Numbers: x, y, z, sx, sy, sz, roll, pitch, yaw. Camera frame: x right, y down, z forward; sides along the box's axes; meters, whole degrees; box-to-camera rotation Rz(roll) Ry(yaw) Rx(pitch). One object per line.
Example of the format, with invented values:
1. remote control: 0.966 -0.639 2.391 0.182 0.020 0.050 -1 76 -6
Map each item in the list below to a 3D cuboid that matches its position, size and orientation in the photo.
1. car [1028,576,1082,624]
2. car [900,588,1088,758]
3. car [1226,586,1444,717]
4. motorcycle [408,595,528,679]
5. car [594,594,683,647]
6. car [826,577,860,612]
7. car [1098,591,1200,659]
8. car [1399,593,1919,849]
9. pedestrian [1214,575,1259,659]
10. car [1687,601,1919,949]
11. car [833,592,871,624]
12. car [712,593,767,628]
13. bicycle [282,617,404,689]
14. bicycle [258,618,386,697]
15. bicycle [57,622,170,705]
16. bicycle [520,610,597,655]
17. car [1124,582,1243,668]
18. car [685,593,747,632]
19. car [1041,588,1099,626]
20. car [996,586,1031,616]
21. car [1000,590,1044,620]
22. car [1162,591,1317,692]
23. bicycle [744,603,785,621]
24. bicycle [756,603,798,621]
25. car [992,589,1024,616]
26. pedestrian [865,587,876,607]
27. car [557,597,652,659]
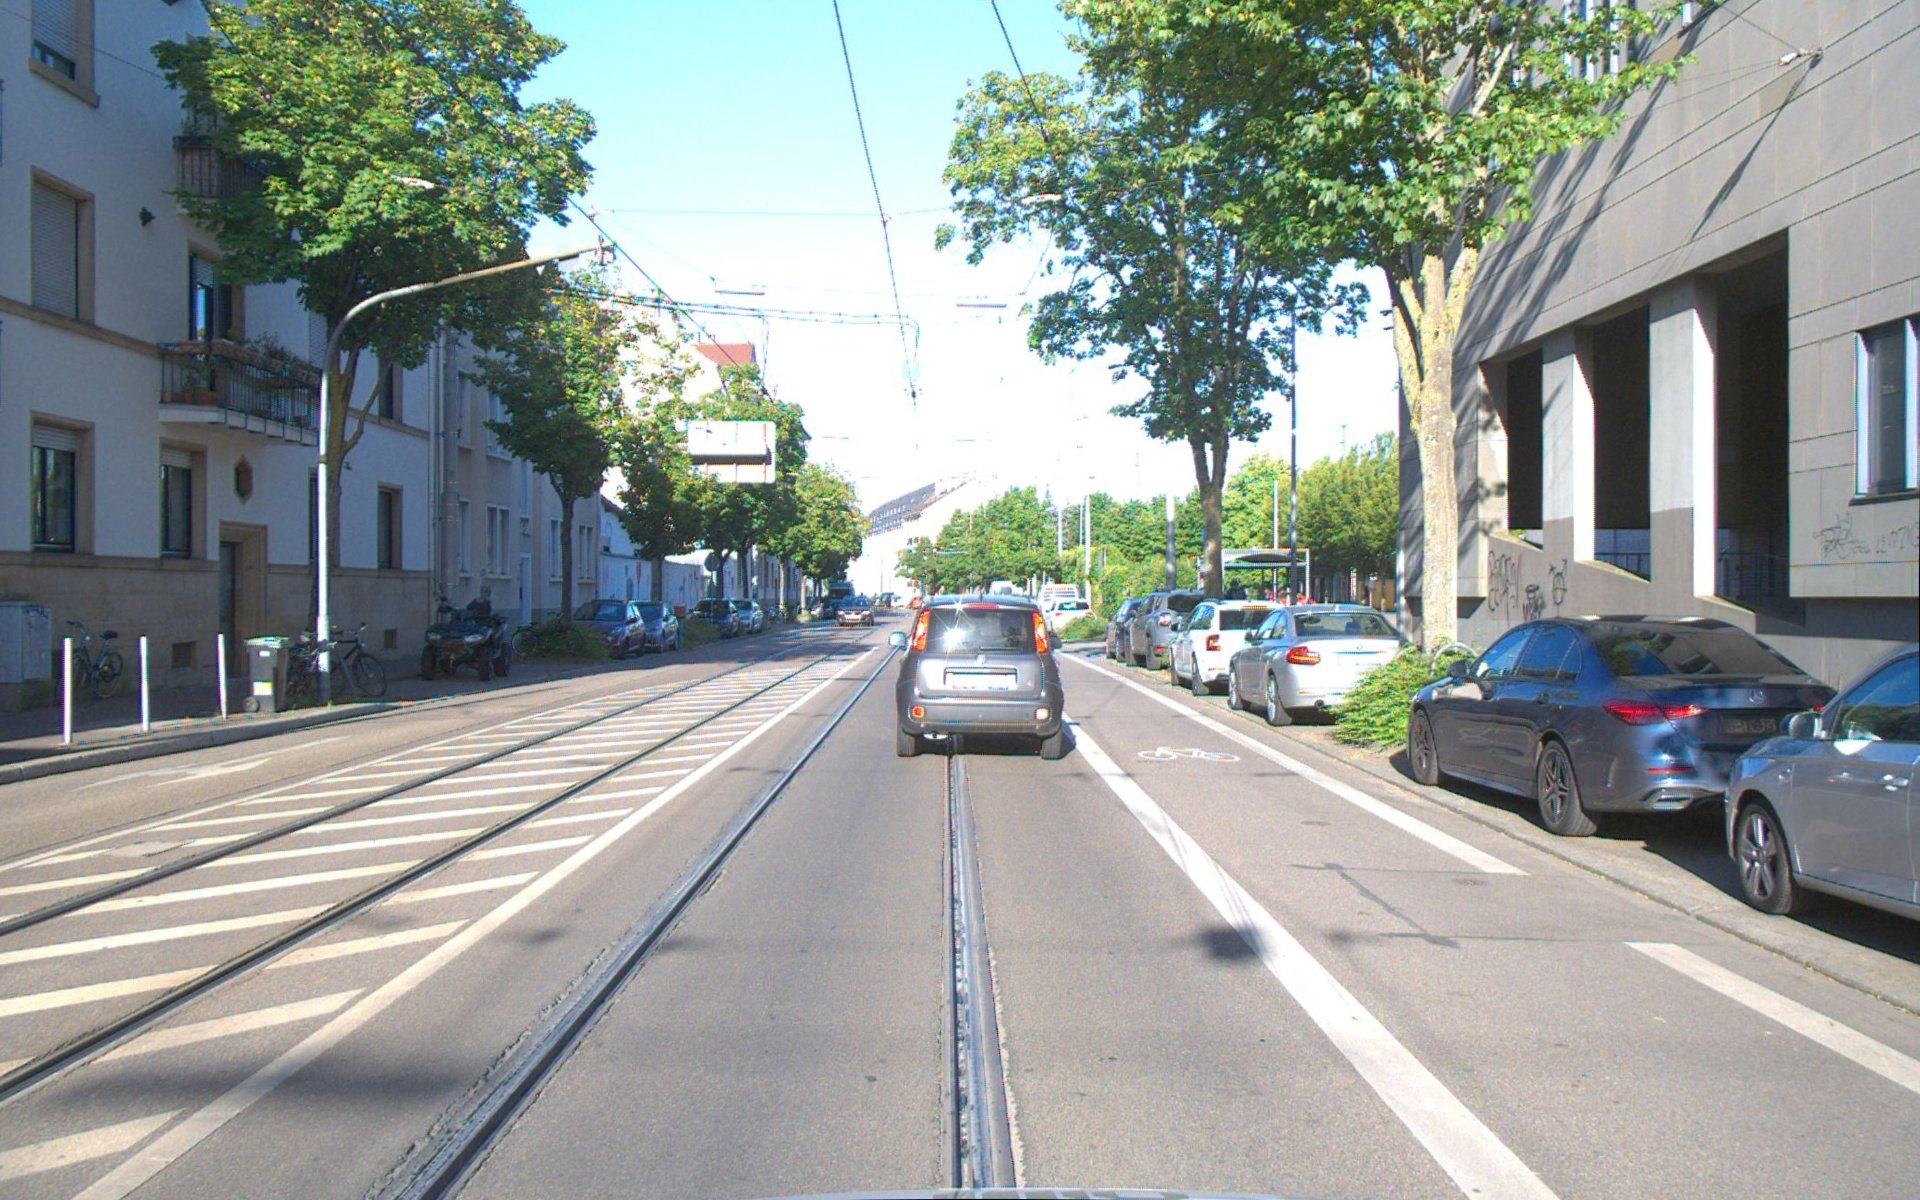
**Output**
1. car: 4.016 -0.018 70.483 1.916 1.938 4.186 -1 0 -2
2. car: 0.288 0.669 16.996 1.696 1.527 3.999 0 0 -1
3. car: 4.654 0.584 21.128 1.785 1.489 4.156 -1 0 -1
4. motorcycle: -9.389 0.671 31.766 1.429 1.507 3.101 -1 0 -2
5. car: -9.382 0.578 48.572 1.916 1.444 4.186 -1 0 -2
6. car: -8.934 -0.451 126.485 2.286 2.614 5.671 -1 0 -1
7. car: 4.471 0.556 39.721 1.805 1.509 4.186 -1 0 -2
8. car: 4.906 0.729 12.446 1.802 1.516 4.640 -1 0 -2
9. pedestrian: 6.901 0.415 41.368 0.948 2.049 1.025 -1 0 0
10. car: 4.971 0.766 7.479 1.608 1.481 3.914 -1 0 0
11. car: -5.285 0.380 81.417 1.745 1.518 4.186 0 0 -2
12. car: -9.492 0.424 71.396 1.916 1.444 4.186 -1 0 -2
13. bicycle: -9.208 0.793 24.718 1.682 1.052 0.441 1 -1 -22
14. bicycle: -8.847 0.795 22.956 1.592 1.062 0.453 1 -1 -33
15. bicycle: -11.434 0.832 22.405 0.496 1.024 2.019 -1 0 -1
16. bicycle: -9.549 0.775 39.357 1.719 1.041 0.605 1 -1 -21
17. car: 4.613 0.473 34.625 1.780 1.669 4.103 -1 0 -2
18. car: -9.425 0.460 64.085 1.916 1.444 4.186 -1 0 -2
19. car: 4.334 0.253 65.578 1.876 1.399 4.186 -1 0 -2
20. car: 2.985 0.041 92.547 1.661 1.574 3.999 -1 1 -2
21. car: 3.144 0.239 84.140 1.916 1.444 4.186 -1 0 -2
22. car: 4.461 0.612 27.065 1.710 1.483 4.618 -1 0 -1
23. bicycle: -10.317 0.646 87.172 2.220 0.946 0.788 -1 0 35
24. bicycle: -9.766 0.651 88.097 2.278 0.946 0.788 -1 0 35
25. car: 2.858 0.141 98.965 1.661 1.525 3.999 -1 1 -2
26. pedestrian: -7.848 -0.263 145.013 0.979 1.805 0.889 -1 0 -6
27. car: -9.244 0.698 43.333 1.761 1.512 3.998 -1 0 -3
